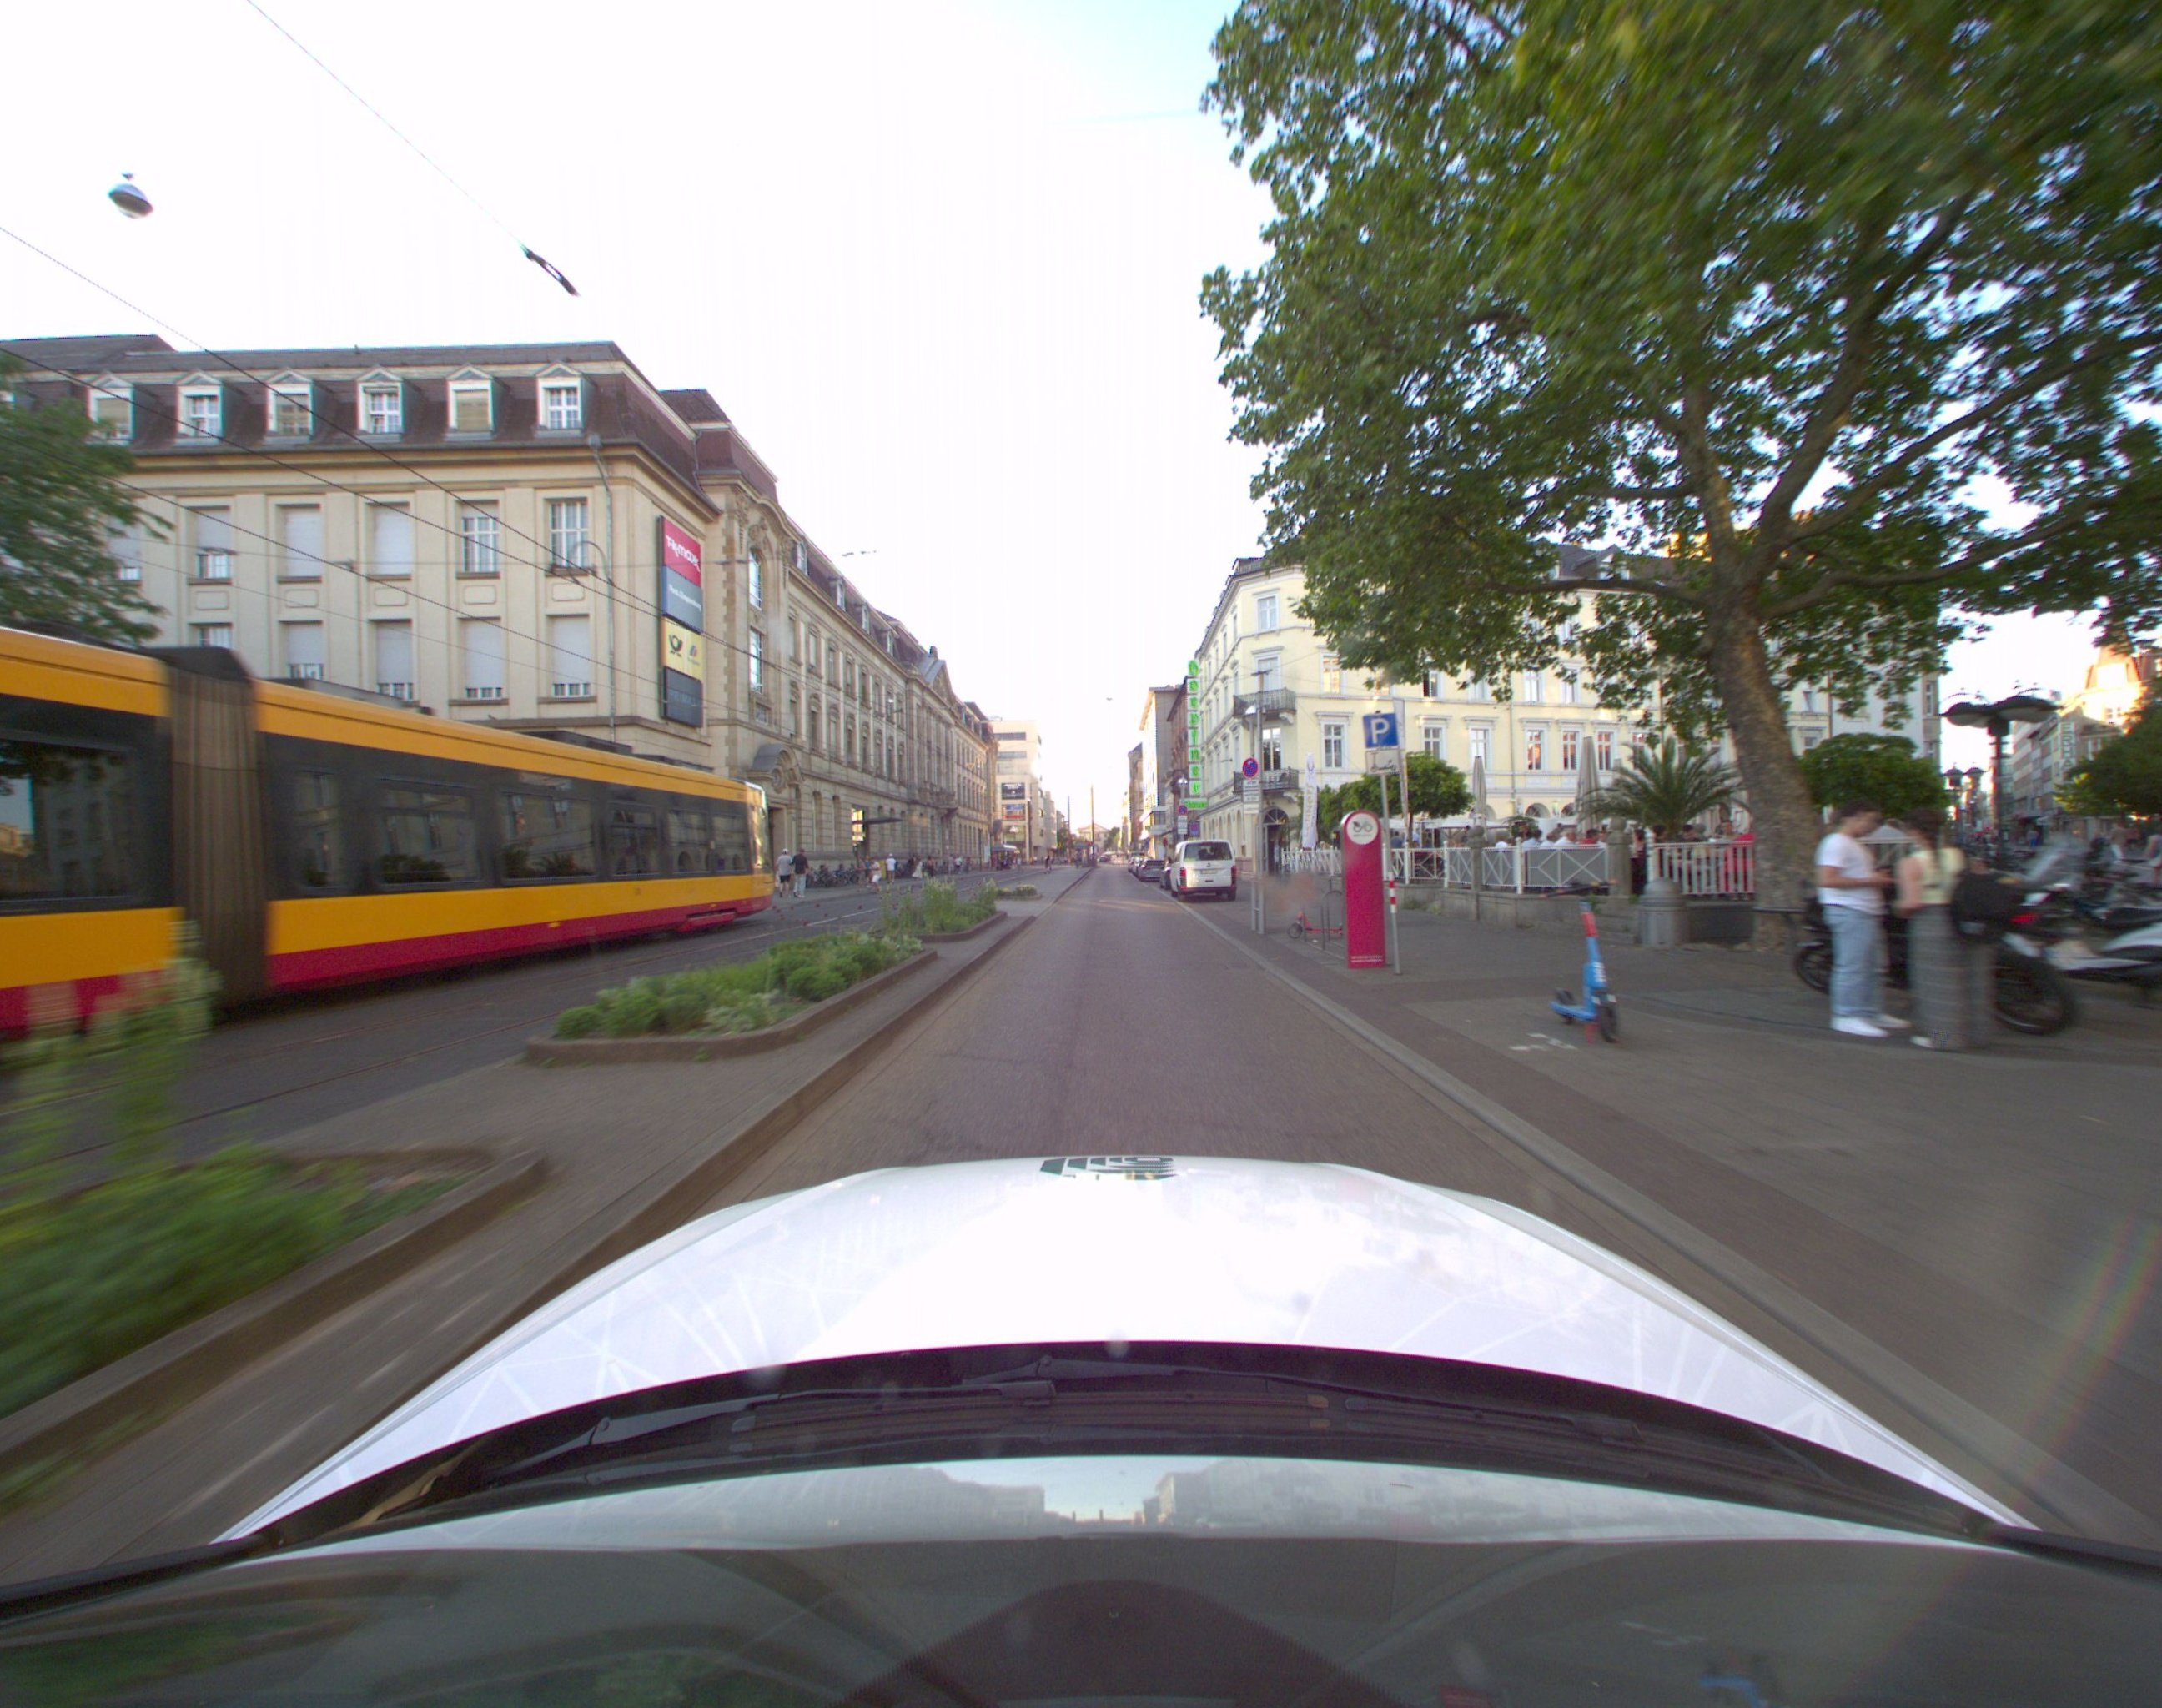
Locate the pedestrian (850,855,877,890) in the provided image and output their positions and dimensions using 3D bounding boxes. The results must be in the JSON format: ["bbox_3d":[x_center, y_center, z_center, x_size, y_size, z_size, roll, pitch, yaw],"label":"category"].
[{"bbox_3d":[-9.750,0.823,36.491,0.750,1.514,0.868,-4,-3,45],"label":"pedestrian"}]

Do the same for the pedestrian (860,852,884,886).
[{"bbox_3d":[-10.887,0.791,42.460,0.869,1.710,1.132,-1,-2,2],"label":"pedestrian"}]

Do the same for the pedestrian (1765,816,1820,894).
[{"bbox_3d":[12.056,0.019,13.807,0.470,1.285,0.542,-2,-2,18],"label":"pedestrian"}]

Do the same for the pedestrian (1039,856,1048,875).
[{"bbox_3d":[-3.181,0.966,69.219,0.688,1.636,0.579,-1,-1,-6],"label":"pedestrian"}]

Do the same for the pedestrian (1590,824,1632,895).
[{"bbox_3d":[9.794,0.104,15.070,0.470,1.285,0.542,-2,-2,16],"label":"pedestrian"}]

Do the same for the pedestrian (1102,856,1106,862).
[{"bbox_3d":[6.041,1.311,213.255,0.773,1.734,0.818,-3,-3,42],"label":"pedestrian"}]

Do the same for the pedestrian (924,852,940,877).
[{"bbox_3d":[-10.687,0.756,58.417,1.048,1.686,0.905,-1,-2,-8],"label":"pedestrian"}]

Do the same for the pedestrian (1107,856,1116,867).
[{"bbox_3d":[5.364,1.351,142.369,1.231,1.928,1.017,-1,0,-14],"label":"pedestrian"}]

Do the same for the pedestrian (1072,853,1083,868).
[{"bbox_3d":[-0.365,0.758,91.250,1.041,1.686,0.911,-2,-2,13],"label":"pedestrian"}]

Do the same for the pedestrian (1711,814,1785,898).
[{"bbox_3d":[10.645,0.050,13.025,0.639,1.285,0.744,-2,-2,18],"label":"pedestrian"}]

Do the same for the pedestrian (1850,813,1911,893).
[{"bbox_3d":[13.133,-0.011,13.396,0.470,1.285,0.542,-2,-2,18],"label":"pedestrian"}]

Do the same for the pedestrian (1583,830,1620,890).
[{"bbox_3d":[11.116,0.133,17.405,0.470,1.242,0.542,-2,-2,16],"label":"pedestrian"}]

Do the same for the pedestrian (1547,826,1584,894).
[{"bbox_3d":[9.692,0.119,16.308,0.470,1.330,0.542,-2,-2,16],"label":"pedestrian"}]

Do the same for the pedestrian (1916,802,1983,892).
[{"bbox_3d":[13.894,-0.099,13.040,0.470,1.400,0.542,-2,-2,18],"label":"pedestrian"}]

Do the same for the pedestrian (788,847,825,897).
[{"bbox_3d":[-10.133,0.663,30.126,0.958,1.811,0.907,-2,-2,8],"label":"pedestrian"}]

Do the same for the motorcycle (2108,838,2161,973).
[{"bbox_3d":[10.793,0.486,7.267,0.563,1.282,1.942,0,0,-24],"label":"motorcycle"}]

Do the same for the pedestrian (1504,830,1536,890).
[{"bbox_3d":[9.778,0.140,18.156,0.470,1.305,0.542,-2,-2,16],"label":"pedestrian"}]

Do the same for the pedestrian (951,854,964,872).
[{"bbox_3d":[-11.694,0.838,77.032,1.051,1.686,0.903,-1,0,-17],"label":"pedestrian"}]

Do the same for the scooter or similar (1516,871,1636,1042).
[{"bbox_3d":[3.964,0.770,6.604,0.313,1.221,1.275,-3,-1,9],"label":"scooter or similar"}]

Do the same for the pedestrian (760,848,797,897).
[{"bbox_3d":[-11.267,0.691,30.337,0.958,1.786,0.907,-2,-2,8],"label":"pedestrian"}]

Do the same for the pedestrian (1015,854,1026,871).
[{"bbox_3d":[-5.984,0.835,80.706,1.045,1.686,0.908,-1,0,1],"label":"pedestrian"}]

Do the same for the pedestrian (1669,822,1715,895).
[{"bbox_3d":[11.011,0.084,14.682,0.473,1.285,0.528,-2,-2,19],"label":"pedestrian"}]

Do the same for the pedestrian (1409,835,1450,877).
[{"bbox_3d":[11.655,0.079,27.287,0.960,1.336,0.905,-1,-2,1],"label":"pedestrian"}]

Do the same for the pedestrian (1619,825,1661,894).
[{"bbox_3d":[10.757,0.116,15.690,0.470,1.285,0.542,-2,-2,16],"label":"pedestrian"}]

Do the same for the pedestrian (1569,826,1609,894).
[{"bbox_3d":[9.778,0.124,15.695,0.470,1.285,0.542,-2,-2,16],"label":"pedestrian"}]

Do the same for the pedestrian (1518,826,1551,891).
[{"bbox_3d":[9.760,0.098,17.535,0.470,1.364,0.542,-2,-2,16],"label":"pedestrian"}]

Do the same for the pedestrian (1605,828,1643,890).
[{"bbox_3d":[11.173,0.103,16.774,0.470,1.242,0.542,-2,-2,16],"label":"pedestrian"}]

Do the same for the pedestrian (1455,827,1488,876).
[{"bbox_3d":[13.357,-0.089,27.877,0.754,1.644,0.659,-1,-2,2],"label":"pedestrian"}]

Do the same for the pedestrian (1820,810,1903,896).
[{"bbox_3d":[12.287,-0.004,12.845,0.639,1.285,0.744,-2,-2,18],"label":"pedestrian"}]

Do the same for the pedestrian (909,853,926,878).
[{"bbox_3d":[-11.414,0.788,56.895,1.048,1.686,0.905,-1,-2,-8],"label":"pedestrian"}]

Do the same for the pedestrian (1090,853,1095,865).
[{"bbox_3d":[1.495,0.705,107.416,0.611,1.523,0.619,-1,-2,-7],"label":"pedestrian"}]

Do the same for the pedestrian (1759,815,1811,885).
[{"bbox_3d":[13.286,-0.065,15.375,0.535,1.285,0.477,-2,-2,11],"label":"pedestrian"}]

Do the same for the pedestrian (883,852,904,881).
[{"bbox_3d":[-10.779,0.735,46.874,0.873,1.653,0.879,-2,-2,15],"label":"pedestrian"}]

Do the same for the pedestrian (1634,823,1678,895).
[{"bbox_3d":[10.624,0.100,15.058,0.470,1.285,0.542,-2,-2,18],"label":"pedestrian"}]

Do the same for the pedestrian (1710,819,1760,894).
[{"bbox_3d":[11.438,0.054,14.260,0.470,1.285,0.542,-2,-2,18],"label":"pedestrian"}]

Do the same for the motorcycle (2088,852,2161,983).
[{"bbox_3d":[10.077,0.580,6.945,0.553,1.150,1.783,0,1,-24],"label":"motorcycle"}]

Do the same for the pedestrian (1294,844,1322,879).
[{"bbox_3d":[8.805,0.292,31.615,0.820,1.306,0.870,-1,-2,1],"label":"pedestrian"}]

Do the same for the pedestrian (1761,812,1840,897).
[{"bbox_3d":[11.258,0.022,12.768,0.639,1.285,0.744,-2,-2,18],"label":"pedestrian"}]

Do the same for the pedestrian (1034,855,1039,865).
[{"bbox_3d":[-8.997,1.270,165.598,0.845,1.928,0.909,-1,0,2],"label":"pedestrian"}]

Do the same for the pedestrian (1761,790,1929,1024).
[{"bbox_3d":[5.924,0.399,6.354,0.611,1.717,0.662,-2,-2,4],"label":"pedestrian"}]

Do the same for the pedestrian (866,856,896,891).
[{"bbox_3d":[-8.851,0.869,35.986,0.710,1.514,1.043,-4,-3,45],"label":"pedestrian"}]

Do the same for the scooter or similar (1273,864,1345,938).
[{"bbox_3d":[3.970,0.816,14.223,1.120,1.216,0.300,-3,-2,2],"label":"scooter or similar"}]

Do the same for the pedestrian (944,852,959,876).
[{"bbox_3d":[-9.445,0.760,59.472,1.048,1.686,0.905,-1,-2,-8],"label":"pedestrian"}]

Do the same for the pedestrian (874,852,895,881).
[{"bbox_3d":[-11.794,0.757,48.859,0.864,1.720,0.887,-2,-2,25],"label":"pedestrian"}]

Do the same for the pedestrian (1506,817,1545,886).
[{"bbox_3d":[10.478,-0.045,19.211,0.614,1.571,0.633,-2,-2,16],"label":"pedestrian"}]

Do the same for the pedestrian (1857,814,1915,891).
[{"bbox_3d":[13.829,-0.021,14.005,0.470,1.285,0.542,-2,-2,18],"label":"pedestrian"}]

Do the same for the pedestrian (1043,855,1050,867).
[{"bbox_3d":[-5.652,1.213,134.626,0.907,1.928,0.847,-1,0,-15],"label":"pedestrian"}]

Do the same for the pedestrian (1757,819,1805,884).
[{"bbox_3d":[14.163,-0.051,16.487,0.535,1.285,0.477,-2,-2,11],"label":"pedestrian"}]

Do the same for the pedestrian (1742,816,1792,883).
[{"bbox_3d":[13.376,-0.082,15.900,0.535,1.285,0.477,-2,-2,11],"label":"pedestrian"}]

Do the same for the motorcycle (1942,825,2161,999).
[{"bbox_3d":[9.012,0.474,6.904,0.567,1.423,2.278,0,0,-24],"label":"motorcycle"}]

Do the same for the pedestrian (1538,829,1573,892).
[{"bbox_3d":[9.831,0.142,16.886,0.470,1.285,0.542,-2,-2,16],"label":"pedestrian"}]

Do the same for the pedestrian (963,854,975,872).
[{"bbox_3d":[-10.862,0.840,78.912,1.051,1.686,0.903,-1,0,-17],"label":"pedestrian"}]

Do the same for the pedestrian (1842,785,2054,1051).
[{"bbox_3d":[5.952,0.426,5.638,0.675,1.717,0.655,-2,-2,4],"label":"pedestrian"}]

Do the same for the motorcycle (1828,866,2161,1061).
[{"bbox_3d":[6.692,0.692,6.047,0.453,1.157,2.032,-1,0,2],"label":"motorcycle"}]
